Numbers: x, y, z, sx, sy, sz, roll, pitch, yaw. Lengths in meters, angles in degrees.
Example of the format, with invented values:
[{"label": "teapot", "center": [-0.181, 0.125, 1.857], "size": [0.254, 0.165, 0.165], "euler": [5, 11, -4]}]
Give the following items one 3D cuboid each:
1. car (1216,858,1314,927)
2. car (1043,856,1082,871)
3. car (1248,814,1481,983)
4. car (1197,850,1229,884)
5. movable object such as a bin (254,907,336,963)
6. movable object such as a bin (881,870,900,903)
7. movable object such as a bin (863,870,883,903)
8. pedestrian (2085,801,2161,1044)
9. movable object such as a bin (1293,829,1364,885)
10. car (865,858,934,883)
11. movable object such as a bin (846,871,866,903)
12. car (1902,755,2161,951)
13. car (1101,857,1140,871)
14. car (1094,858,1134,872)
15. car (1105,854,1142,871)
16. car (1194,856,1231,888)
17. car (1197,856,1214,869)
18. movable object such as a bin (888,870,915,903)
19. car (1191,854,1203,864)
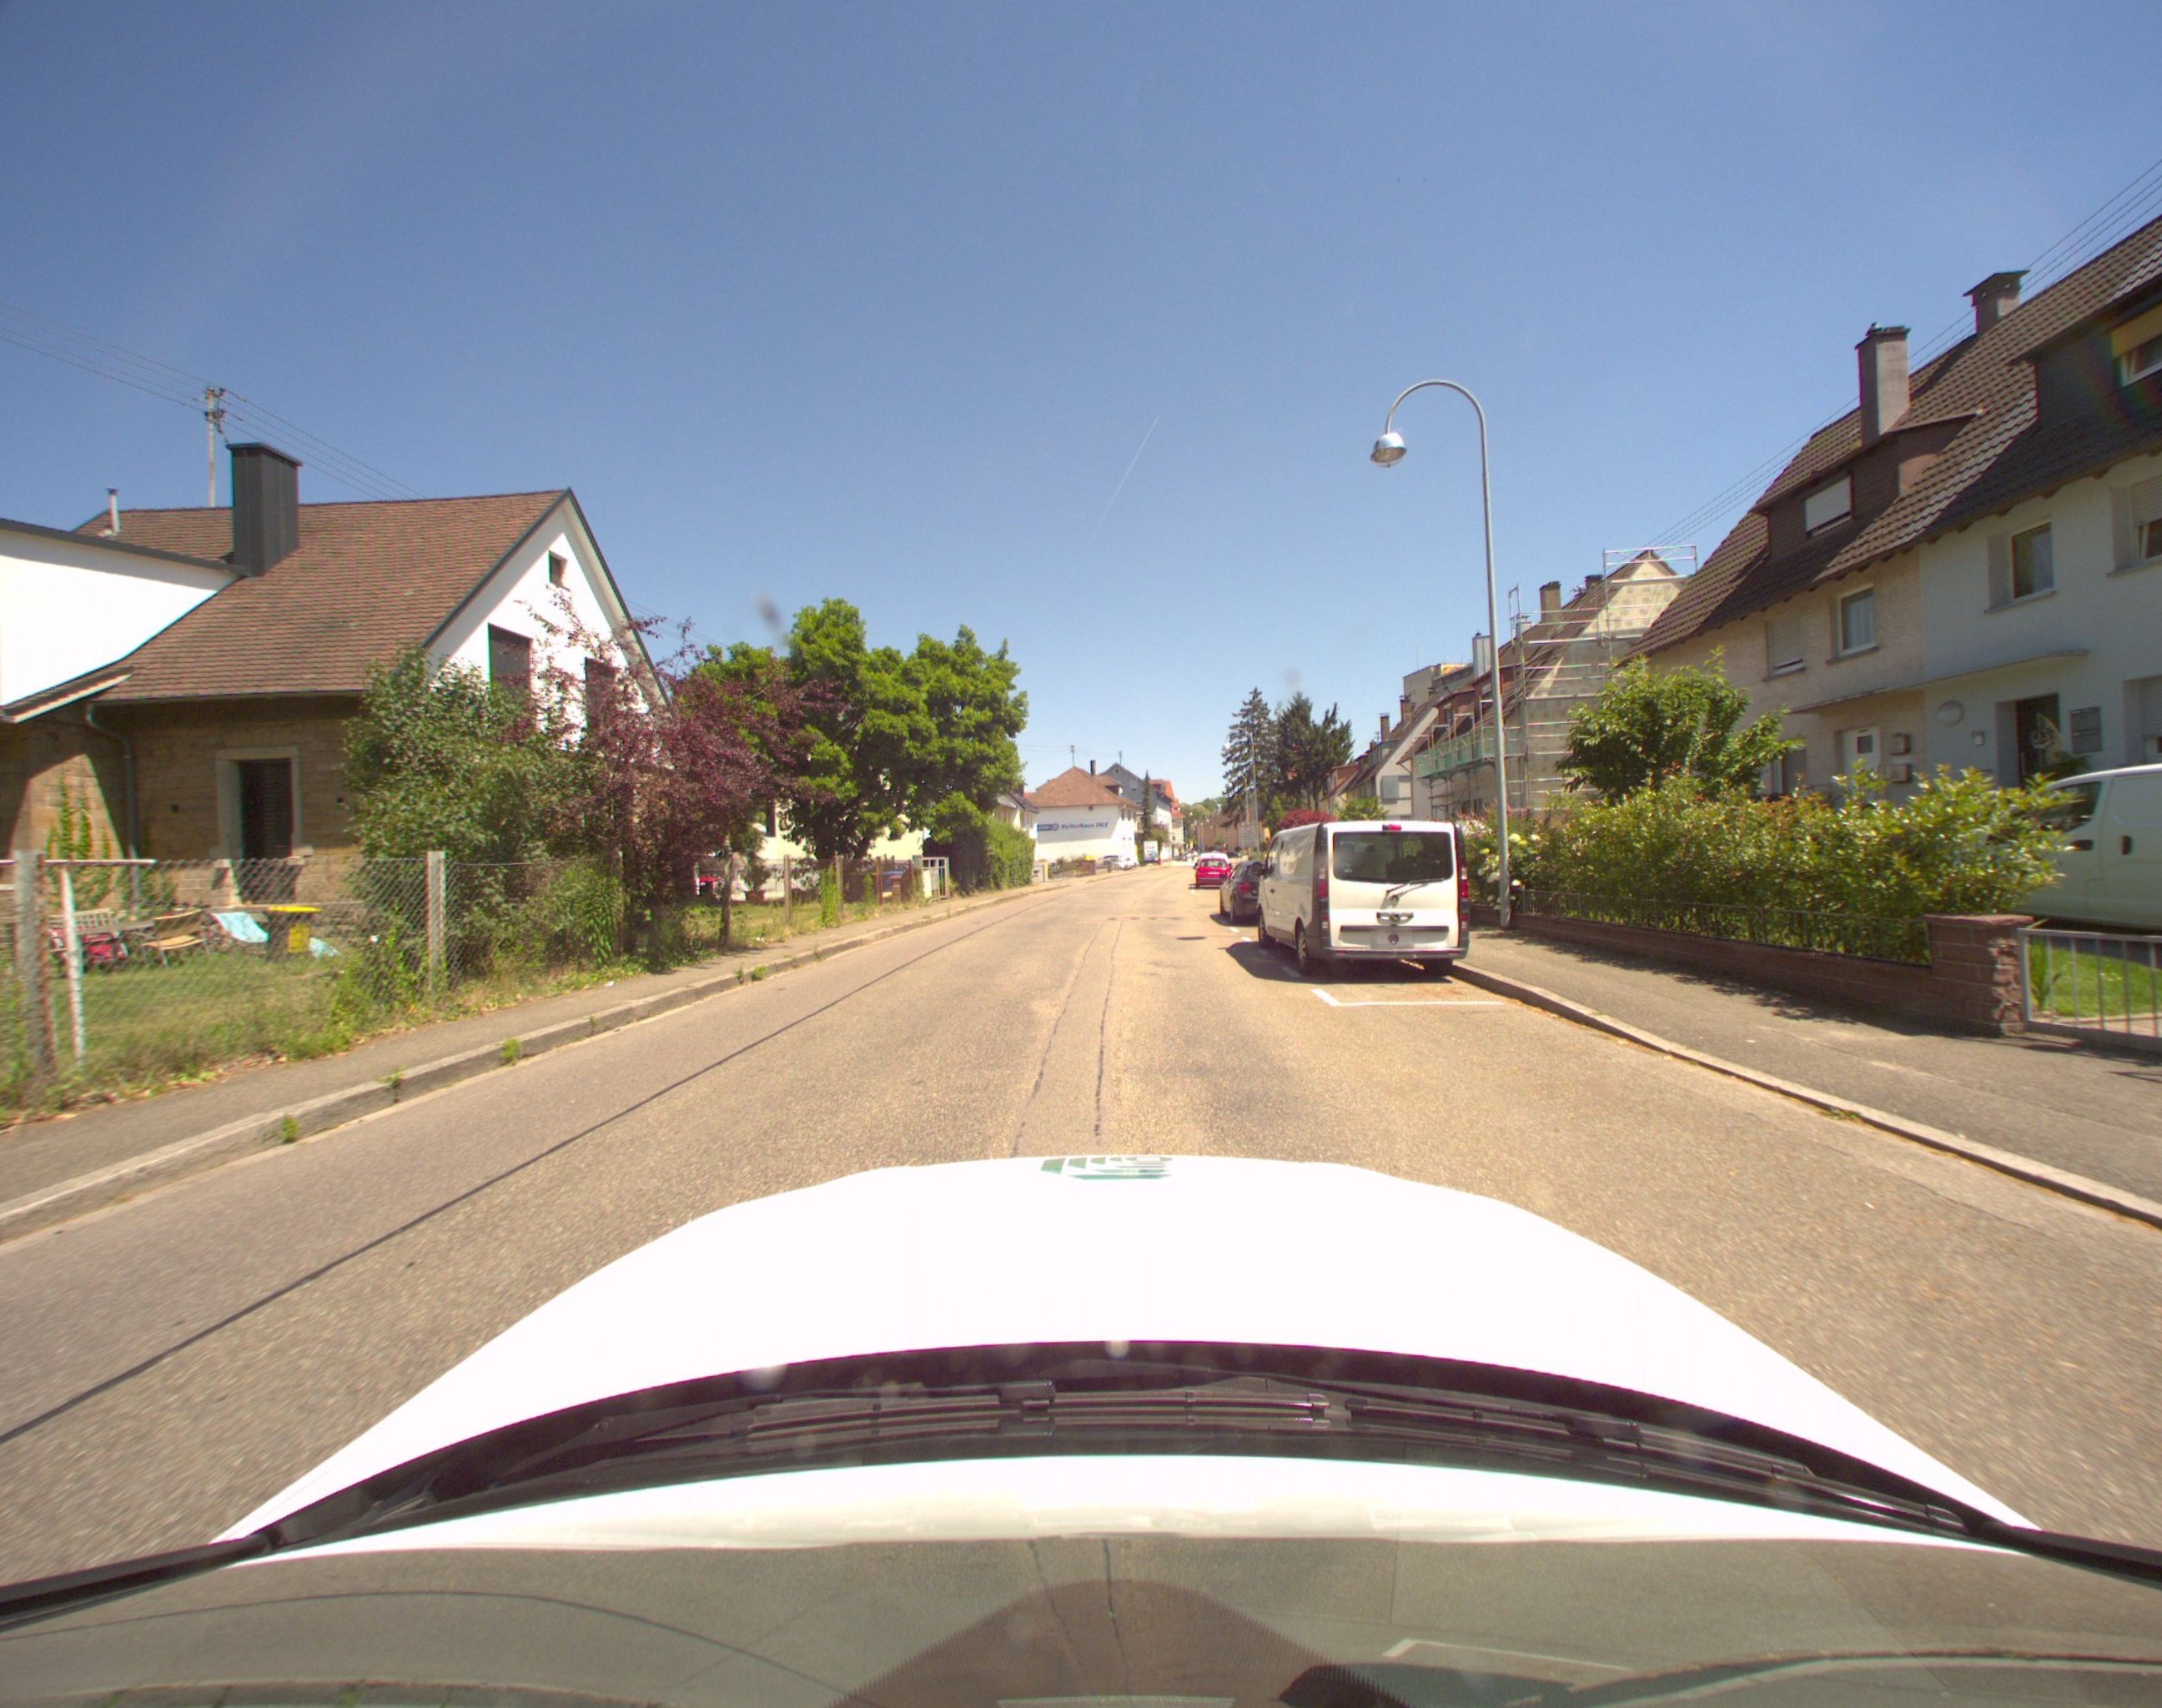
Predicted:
[{"label": "car", "center": [4.174, 0.813, 19.021], "size": [1.649, 1.398, 4.005], "euler": [-1, 0, 4]}, {"label": "car", "center": [-1.941, 0.959, 84.113], "size": [1.810, 1.510, 3.951], "euler": [-2, 0, -43]}, {"label": "car", "center": [3.773, 0.524, 11.821], "size": [1.895, 1.925, 4.721], "euler": [-1, 0, 3]}, {"label": "car", "center": [7.186, 0.717, 44.386], "size": [1.654, 1.755, 4.010], "euler": [0, -1, 9]}, {"label": "movable object such as a bin", "center": [-12.381, 1.265, 12.850], "size": [0.563, 0.828, 0.725], "euler": [0, -1, 6]}, {"label": "movable object such as a bin", "center": [-6.101, 1.035, 26.102], "size": [0.465, 1.009, 0.506], "euler": [-1, 0, 3]}, {"label": "movable object such as a bin", "center": [-6.669, 1.038, 26.141], "size": [0.465, 1.009, 0.506], "euler": [-1, 0, 3]}, {"label": "pedestrian", "center": [7.134, 0.412, 5.063], "size": [0.785, 1.517, 0.709], "euler": [-4, -1, 3]}, {"label": "movable object such as a bin", "center": [12.460, 0.149, 41.167], "size": [3.130, 2.747, 1.710], "euler": [-1, 0, 5]}, {"label": "car", "center": [-11.479, 1.028, 51.678], "size": [3.975, 1.510, 1.799], "euler": [0, 0, -1]}, {"label": "movable object such as a bin", "center": [-7.230, 1.047, 26.208], "size": [0.465, 1.009, 0.506], "euler": [-1, 0, 3]}, {"label": "car", "center": [11.142, -0.087, 8.239], "size": [1.733, 1.856, 4.413], "euler": [-5, 0, 11]}, {"label": "car", "center": [4.507, 1.162, 91.865], "size": [4.103, 1.394, 1.834], "euler": [-2, 0, 10]}, {"label": "car", "center": [3.599, 1.222, 89.004], "size": [4.090, 1.344, 1.923], "euler": [-2, 0, 45]}, {"label": "car", "center": [4.930, 0.946, 94.127], "size": [4.107, 1.774, 1.832], "euler": [-2, 0, 6]}, {"label": "car", "center": [6.318, 0.841, 39.385], "size": [1.654, 1.455, 4.009], "euler": [-1, 0, 8]}, {"label": "car", "center": [14.113, 0.973, 91.952], "size": [1.783, 1.510, 4.010], "euler": [-1, -1, 9]}, {"label": "movable object such as a bin", "center": [-5.605, 1.005, 25.459], "size": [0.705, 0.996, 0.474], "euler": [-1, -1, 1]}, {"label": "car", "center": [19.169, 0.820, 134.250], "size": [1.746, 1.656, 4.012], "euler": [-2, 0, 10]}]
